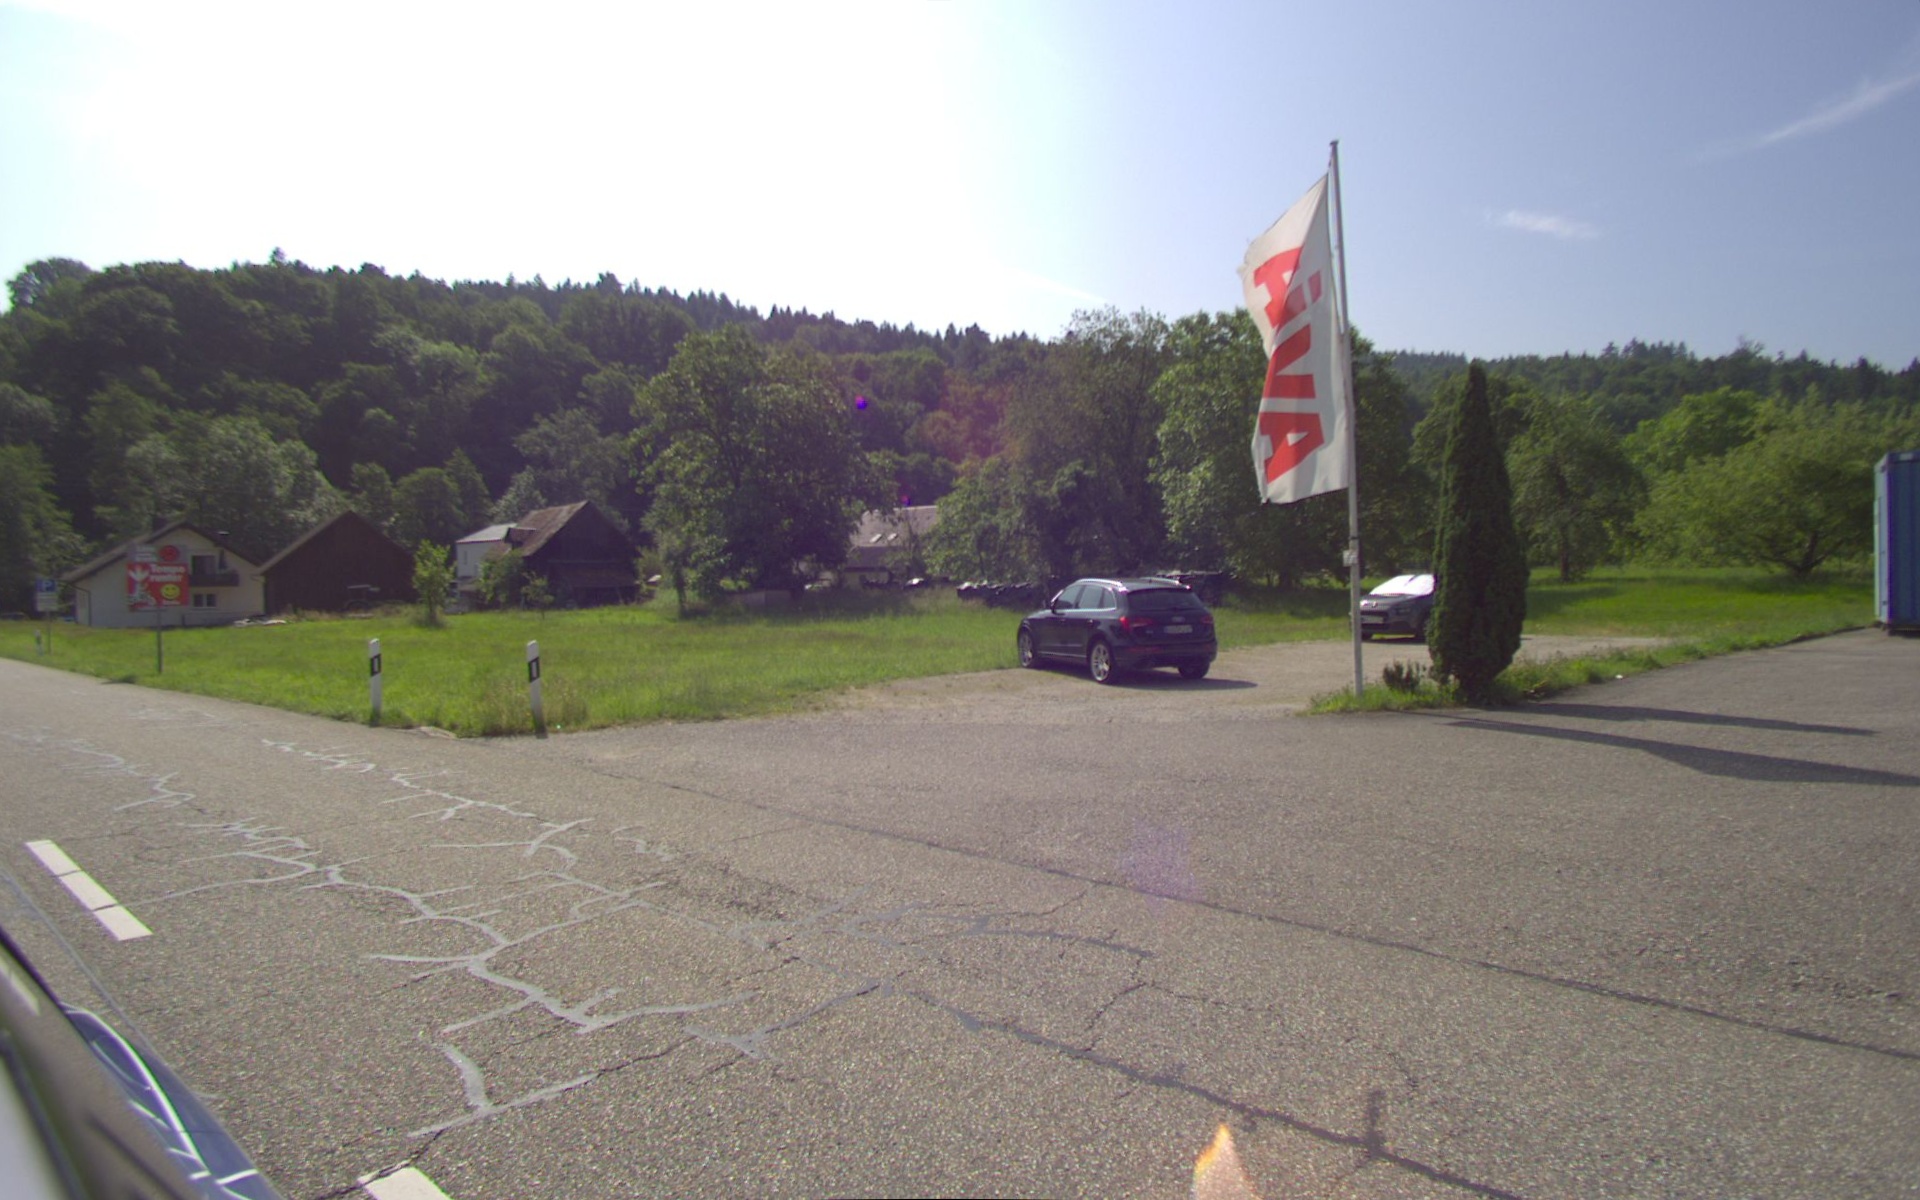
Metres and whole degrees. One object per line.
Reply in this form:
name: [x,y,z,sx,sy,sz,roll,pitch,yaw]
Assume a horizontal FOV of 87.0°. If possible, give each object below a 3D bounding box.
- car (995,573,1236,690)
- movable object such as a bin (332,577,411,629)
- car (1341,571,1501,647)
car: [2.445,0.469,17.424,1.804,1.661,4.924,-2,1,-22]
movable object such as a bin: [-38.253,0.184,65.790,4.124,3.161,2.208,-3,1,-35]
car: [10.545,0.172,23.039,3.874,1.496,1.920,-3,1,-43]
